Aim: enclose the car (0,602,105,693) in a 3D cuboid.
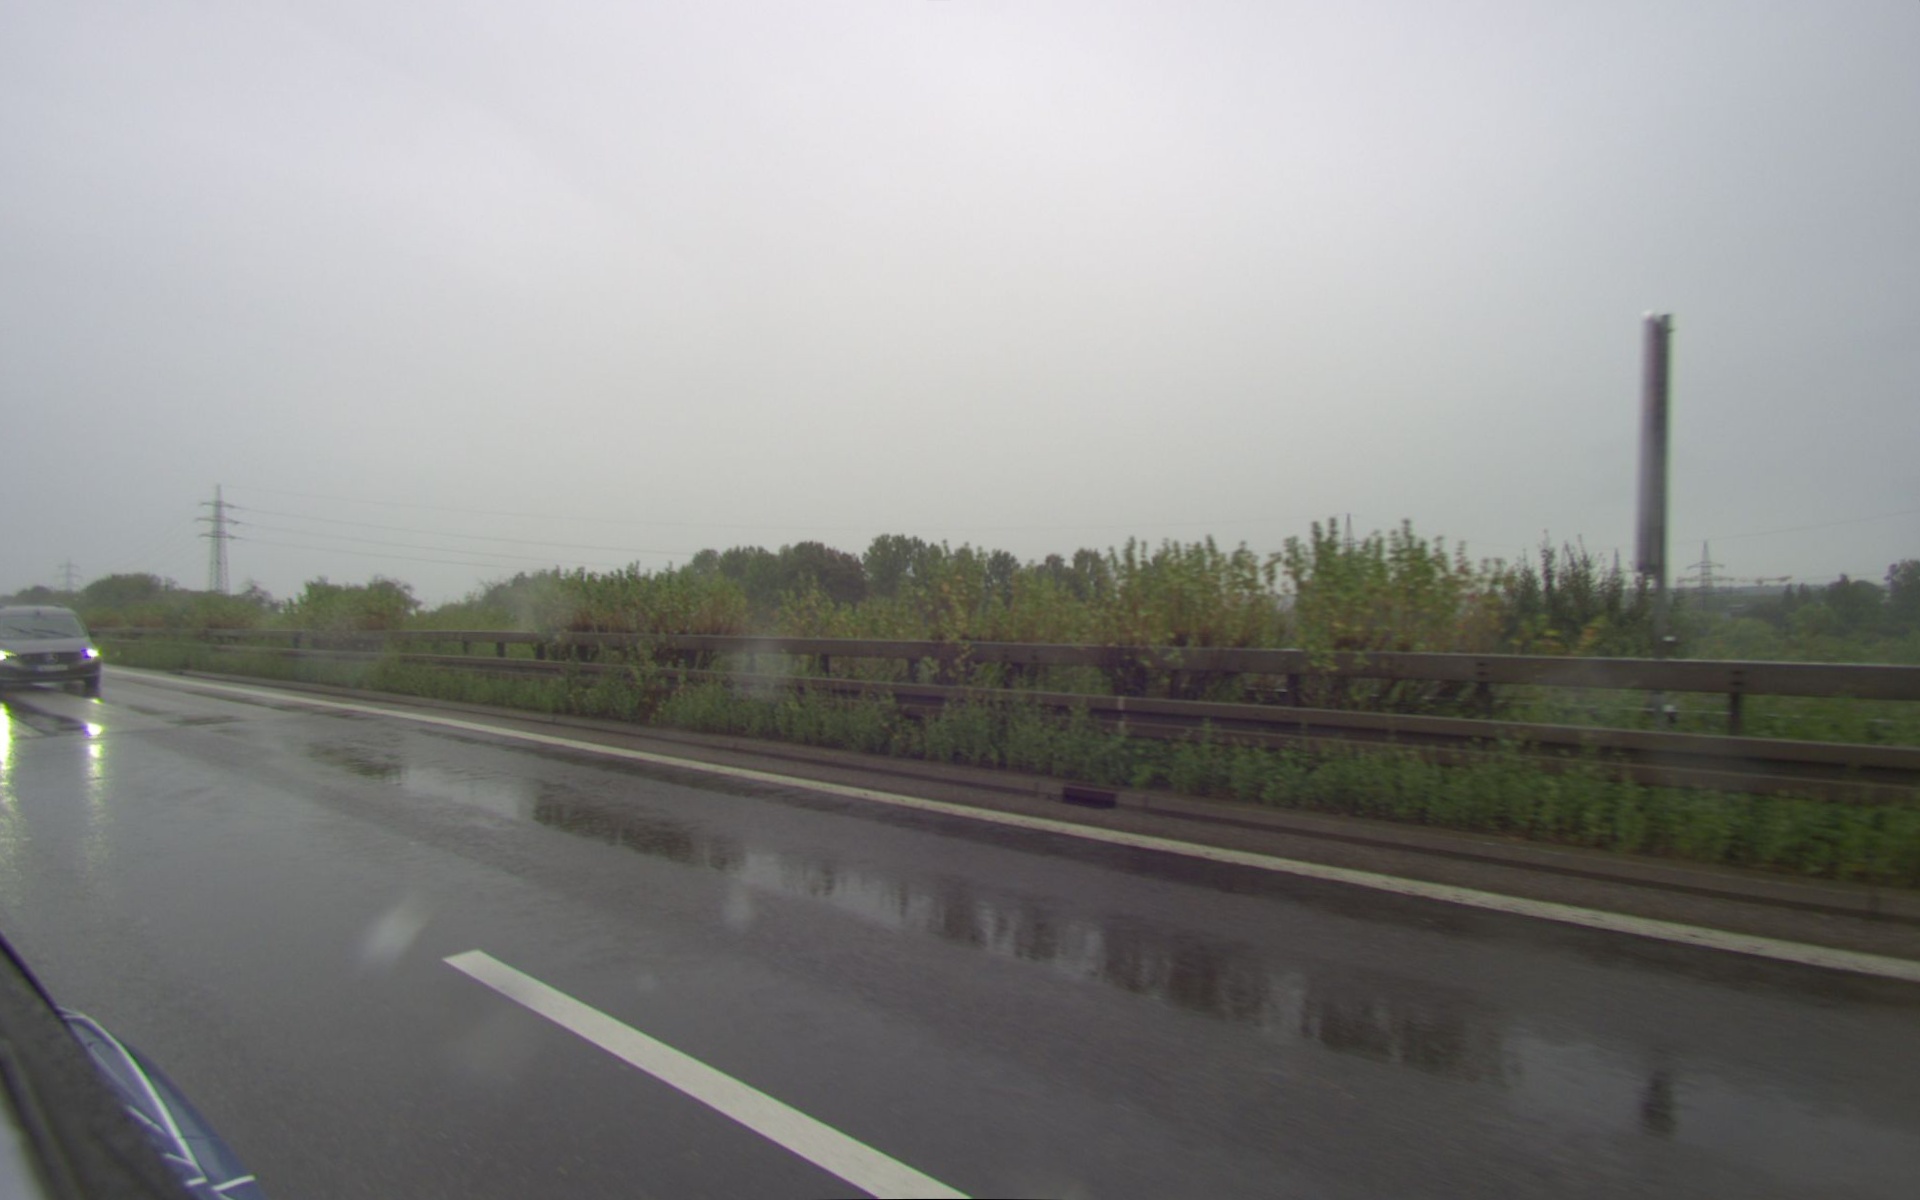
[{"bbox_3d":[-20.381,0.975,22.152,4.500,1.787,2.020,-1,0,43],"label":"car"}]
